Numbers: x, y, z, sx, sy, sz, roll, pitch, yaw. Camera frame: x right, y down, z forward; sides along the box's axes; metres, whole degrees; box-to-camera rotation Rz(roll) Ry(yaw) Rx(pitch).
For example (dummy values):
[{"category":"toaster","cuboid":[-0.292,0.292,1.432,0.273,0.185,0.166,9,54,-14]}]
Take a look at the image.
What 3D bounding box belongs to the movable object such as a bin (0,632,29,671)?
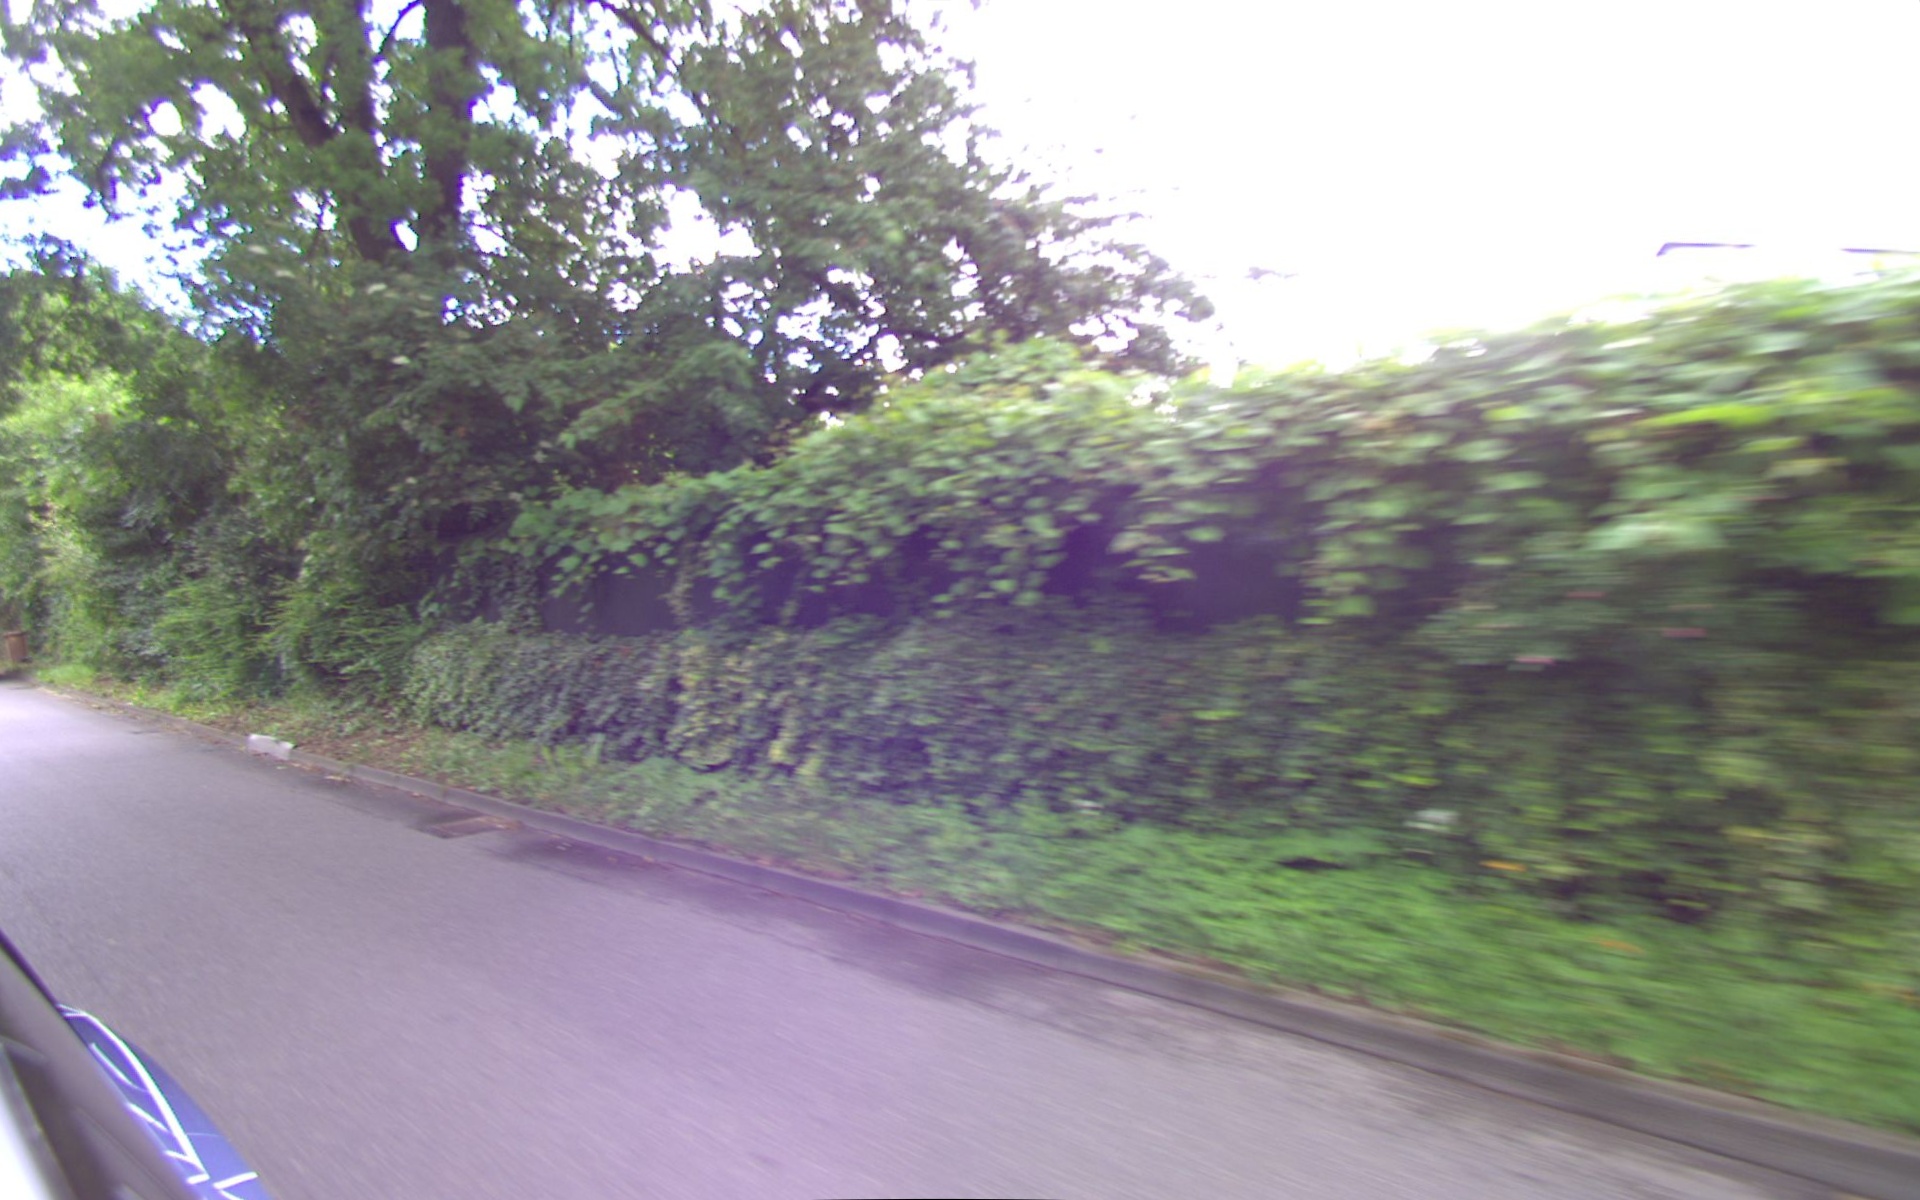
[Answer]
[{"category":"movable object such as a bin","cuboid":[-25.800,1.384,27.488,0.640,1.020,0.633,1,-1,-34]}]
